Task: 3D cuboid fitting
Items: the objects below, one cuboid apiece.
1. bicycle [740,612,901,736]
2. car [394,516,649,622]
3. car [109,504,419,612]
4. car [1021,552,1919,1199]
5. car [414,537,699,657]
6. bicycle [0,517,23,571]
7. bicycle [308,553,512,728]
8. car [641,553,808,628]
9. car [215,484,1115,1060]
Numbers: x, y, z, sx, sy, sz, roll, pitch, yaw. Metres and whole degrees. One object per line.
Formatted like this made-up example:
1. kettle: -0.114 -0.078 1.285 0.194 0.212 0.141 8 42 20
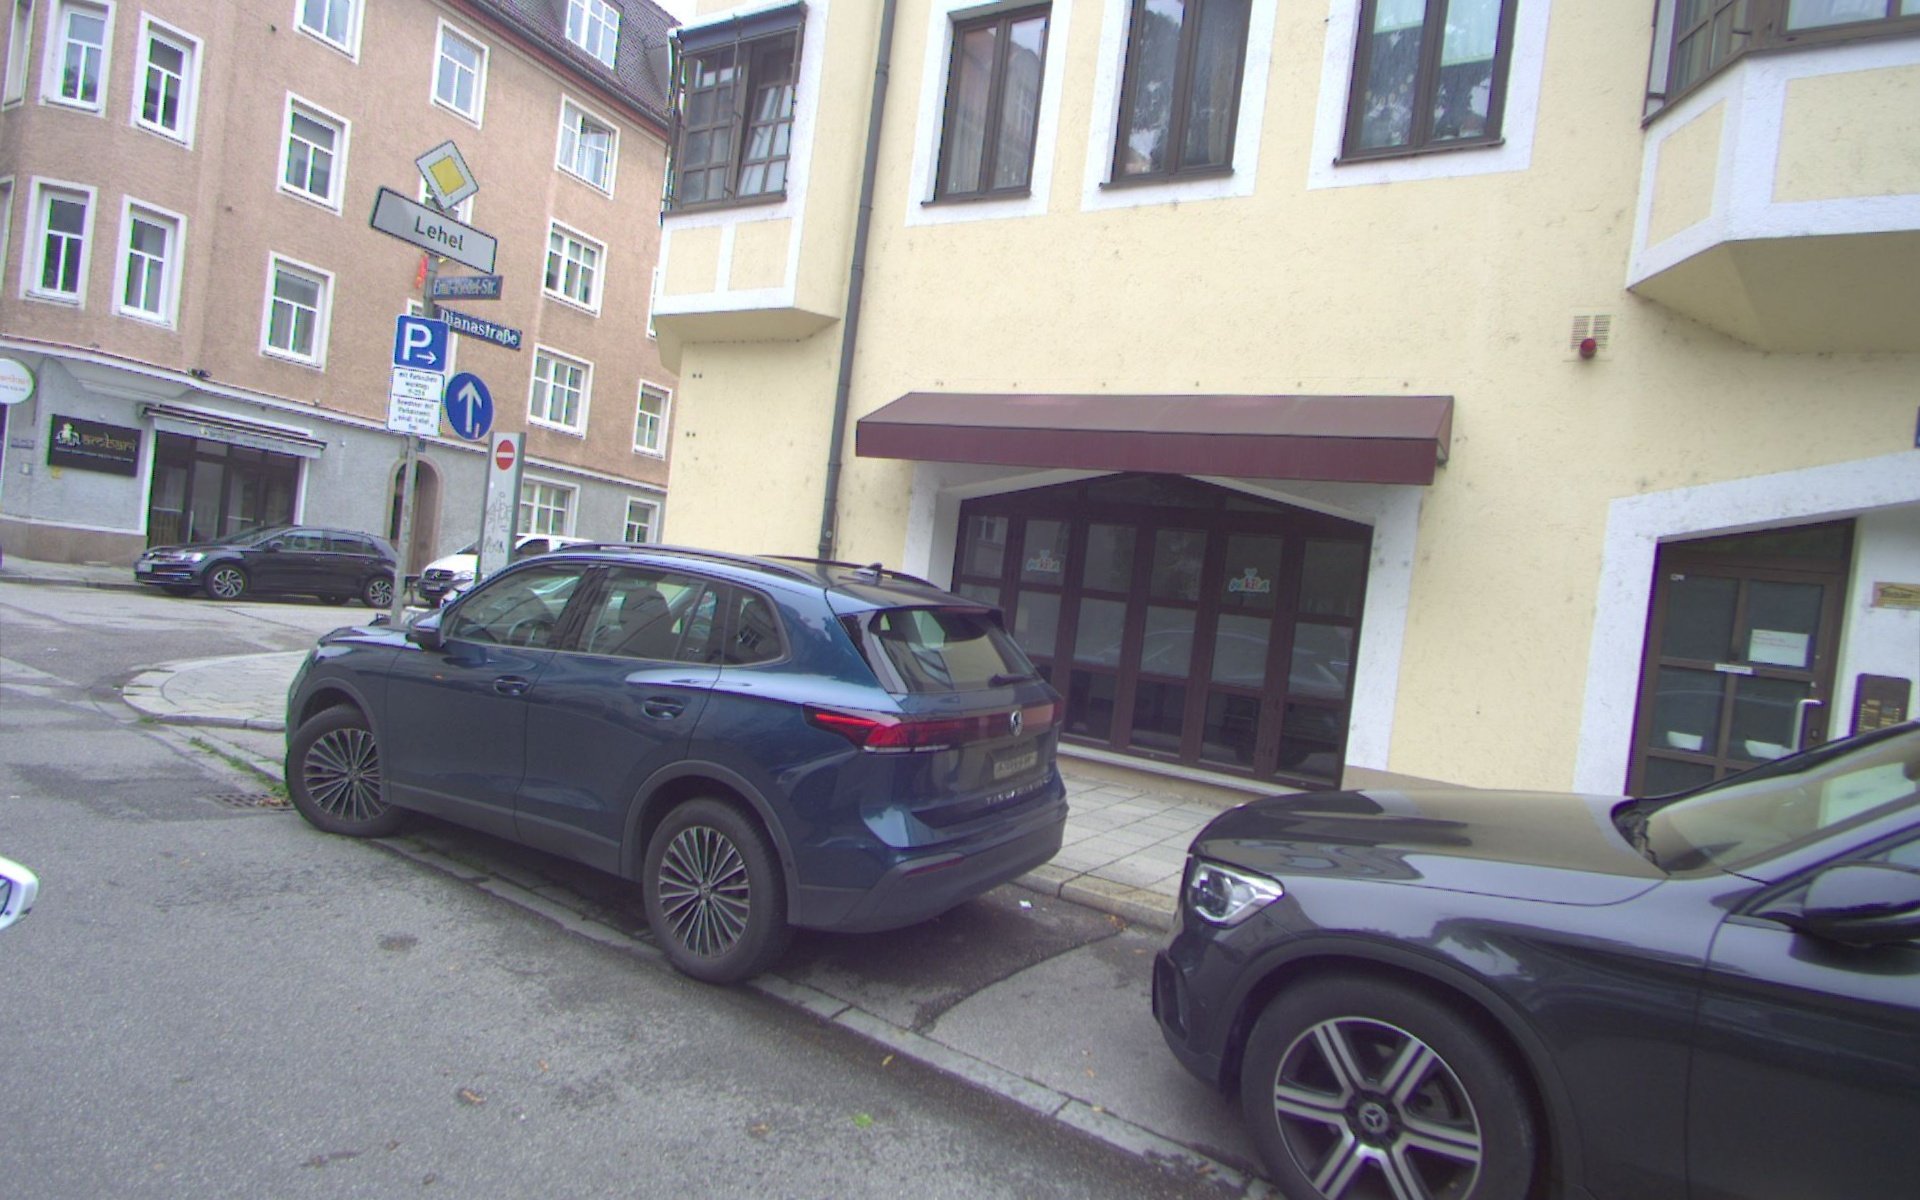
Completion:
1. bicycle: -1.410 0.717 9.990 1.656 0.989 0.271 7 0 30
2. car: -10.011 -0.633 23.447 2.064 1.876 5.136 5 -1 29
3. car: -12.461 -0.691 18.319 1.893 1.446 4.177 5 -1 29
4. car: 2.666 0.978 2.536 4.630 1.701 1.757 7 2 33
5. car: -6.524 0.022 16.703 1.717 1.475 4.042 9 1 31
6. bicycle: -15.974 -0.963 16.523 1.304 0.815 0.457 7 0 32
7. bicycle: -4.723 0.312 8.581 1.962 1.222 0.514 7 0 32
8. car: -6.768 -0.215 29.426 2.064 1.707 4.616 5 -1 29
9. car: -1.693 0.478 5.192 4.434 1.701 1.820 7 1 31
